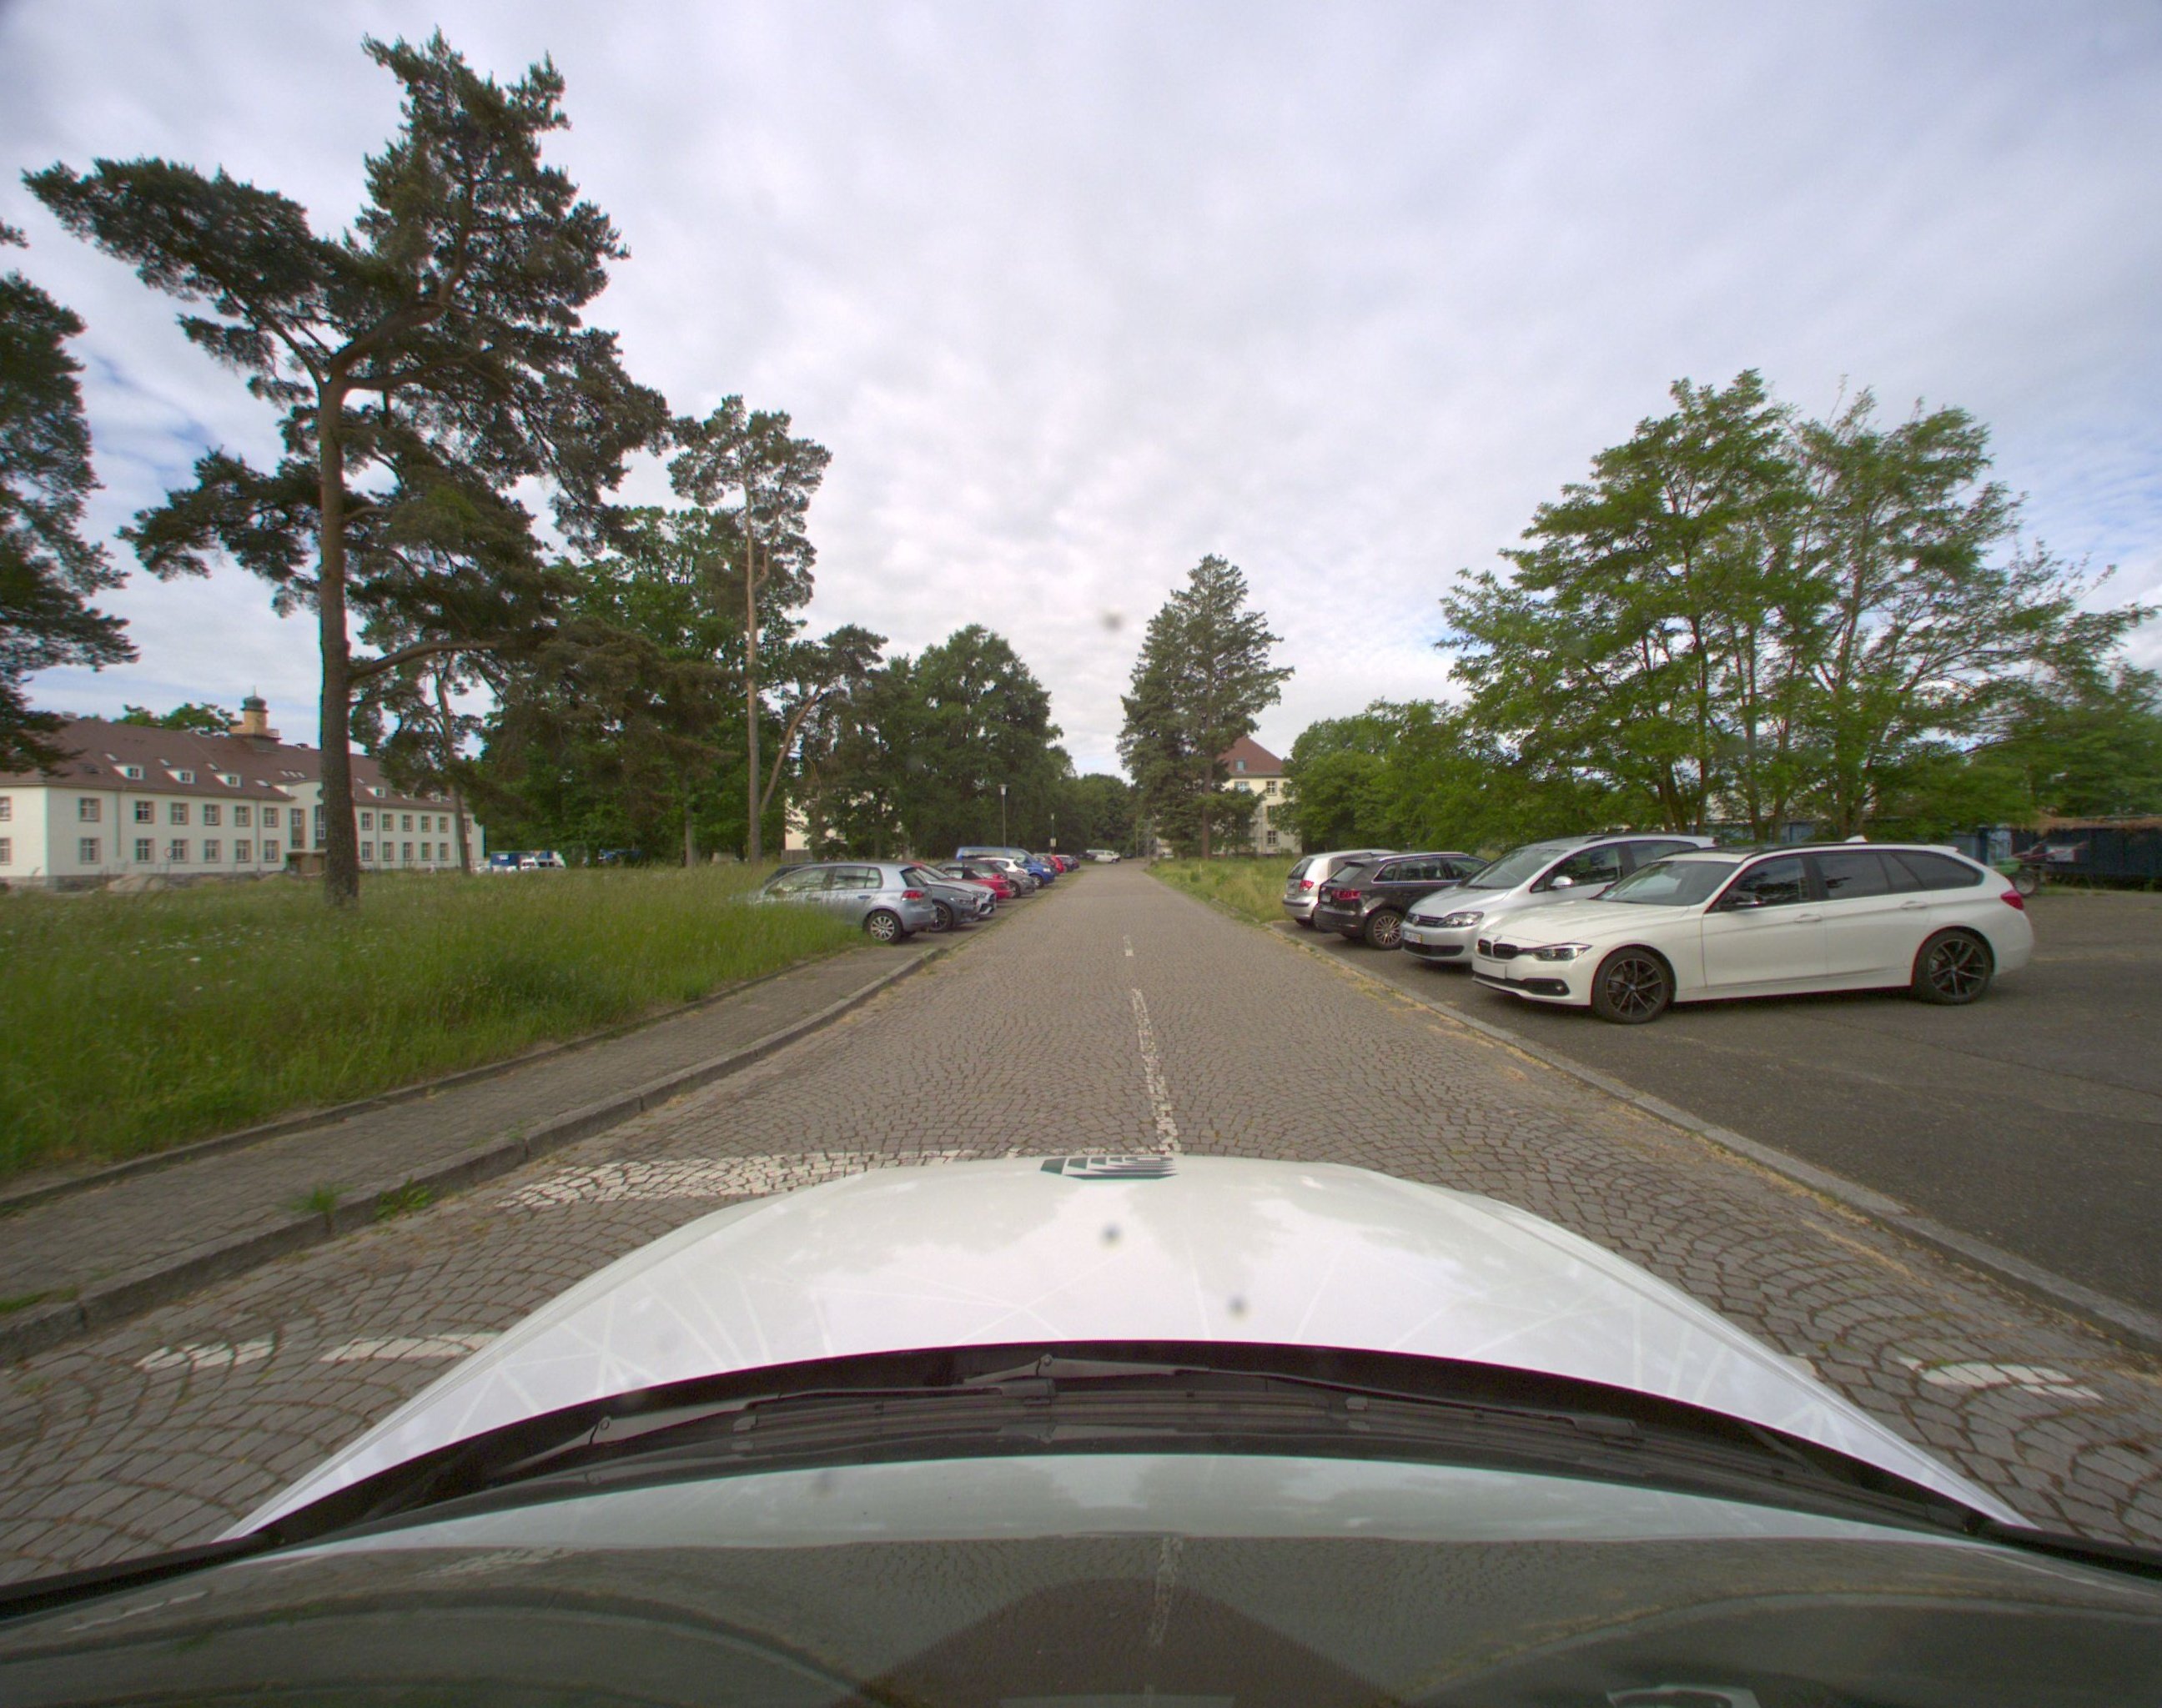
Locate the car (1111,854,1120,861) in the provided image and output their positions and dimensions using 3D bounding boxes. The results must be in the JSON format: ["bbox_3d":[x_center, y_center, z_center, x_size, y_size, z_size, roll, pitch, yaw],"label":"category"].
[{"bbox_3d":[7.918,0.827,187.804,2.111,1.521,4.000,-1,0,1],"label":"car"}]

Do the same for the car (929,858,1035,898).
[{"bbox_3d":[-4.047,0.969,33.640,4.051,1.497,1.847,-1,0,2],"label":"car"}]

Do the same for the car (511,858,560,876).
[{"bbox_3d":[-64.652,1.561,96.686,1.984,2.014,5.237,-2,-1,5],"label":"car"}]

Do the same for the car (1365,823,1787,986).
[{"bbox_3d":[6.129,0.579,10.440,4.229,1.596,1.884,-4,0,-2],"label":"car"}]

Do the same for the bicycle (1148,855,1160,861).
[{"bbox_3d":[14.408,0.762,160.411,2.230,1.254,0.635,-1,-1,4],"label":"bicycle"}]

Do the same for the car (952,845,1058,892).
[{"bbox_3d":[-3.564,0.676,38.927,4.765,2.122,2.115,-1,0,1],"label":"car"}]

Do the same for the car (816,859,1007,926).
[{"bbox_3d":[-4.150,0.924,20.541,4.360,1.507,1.935,-1,0,-1],"label":"car"}]

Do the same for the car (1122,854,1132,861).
[{"bbox_3d":[10.596,0.760,188.040,1.944,1.521,4.000,-1,0,0],"label":"car"}]

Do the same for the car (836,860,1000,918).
[{"bbox_3d":[-4.482,0.944,22.846,4.151,1.476,1.865,-1,0,1],"label":"car"}]

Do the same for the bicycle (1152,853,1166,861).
[{"bbox_3d":[13.291,0.554,138.870,2.230,1.254,0.778,-1,-1,4],"label":"bicycle"}]

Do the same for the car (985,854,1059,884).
[{"bbox_3d":[-3.427,0.882,47.811,4.154,1.622,1.986,-1,0,-1],"label":"car"}]

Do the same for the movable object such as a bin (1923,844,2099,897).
[{"bbox_3d":[18.903,0.327,16.595,2.674,0.988,0.853,-1,0,-2],"label":"movable object such as a bin"}]

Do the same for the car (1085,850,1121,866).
[{"bbox_3d":[3.268,0.585,121.872,5.219,2.168,1.999,-1,0,-1],"label":"car"}]

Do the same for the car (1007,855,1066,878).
[{"bbox_3d":[-3.121,0.868,58.182,4.041,1.525,1.905,-1,0,0],"label":"car"}]

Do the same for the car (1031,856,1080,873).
[{"bbox_3d":[-2.265,0.951,73.143,4.285,1.461,1.976,0,0,3],"label":"car"}]

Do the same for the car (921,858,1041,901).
[{"bbox_3d":[-3.705,0.943,30.680,4.148,1.491,1.866,-1,0,3],"label":"car"}]

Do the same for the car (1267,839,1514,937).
[{"bbox_3d":[5.898,0.625,15.874,4.061,1.515,1.804,-4,0,-1],"label":"car"}]

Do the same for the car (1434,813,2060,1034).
[{"bbox_3d":[6.100,0.583,7.886,4.479,1.565,1.905,-4,0,-1],"label":"car"}]

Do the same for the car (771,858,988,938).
[{"bbox_3d":[-4.261,0.914,17.797,4.239,1.548,1.934,-1,0,-2],"label":"car"}]

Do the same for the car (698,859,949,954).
[{"bbox_3d":[-4.618,0.922,15.072,3.973,1.543,1.905,-1,0,0],"label":"car"}]

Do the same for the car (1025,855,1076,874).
[{"bbox_3d":[-2.543,0.904,68.446,4.214,1.577,1.887,0,0,0],"label":"car"}]

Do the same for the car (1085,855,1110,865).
[{"bbox_3d":[2.506,0.918,124.482,3.778,1.395,1.999,-1,0,-1],"label":"car"}]

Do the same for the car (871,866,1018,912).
[{"bbox_3d":[-4.157,1.051,25.213,4.149,1.266,1.832,-1,0,3],"label":"car"}]

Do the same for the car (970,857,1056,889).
[{"bbox_3d":[-3.417,0.954,41.513,4.153,1.510,1.781,-1,0,-1],"label":"car"}]

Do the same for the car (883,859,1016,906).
[{"bbox_3d":[-4.431,0.950,27.876,4.149,1.482,1.847,-1,0,2],"label":"car"}]

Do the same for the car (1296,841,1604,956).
[{"bbox_3d":[5.796,0.663,13.165,4.061,1.453,1.885,-4,0,-1],"label":"car"}]
